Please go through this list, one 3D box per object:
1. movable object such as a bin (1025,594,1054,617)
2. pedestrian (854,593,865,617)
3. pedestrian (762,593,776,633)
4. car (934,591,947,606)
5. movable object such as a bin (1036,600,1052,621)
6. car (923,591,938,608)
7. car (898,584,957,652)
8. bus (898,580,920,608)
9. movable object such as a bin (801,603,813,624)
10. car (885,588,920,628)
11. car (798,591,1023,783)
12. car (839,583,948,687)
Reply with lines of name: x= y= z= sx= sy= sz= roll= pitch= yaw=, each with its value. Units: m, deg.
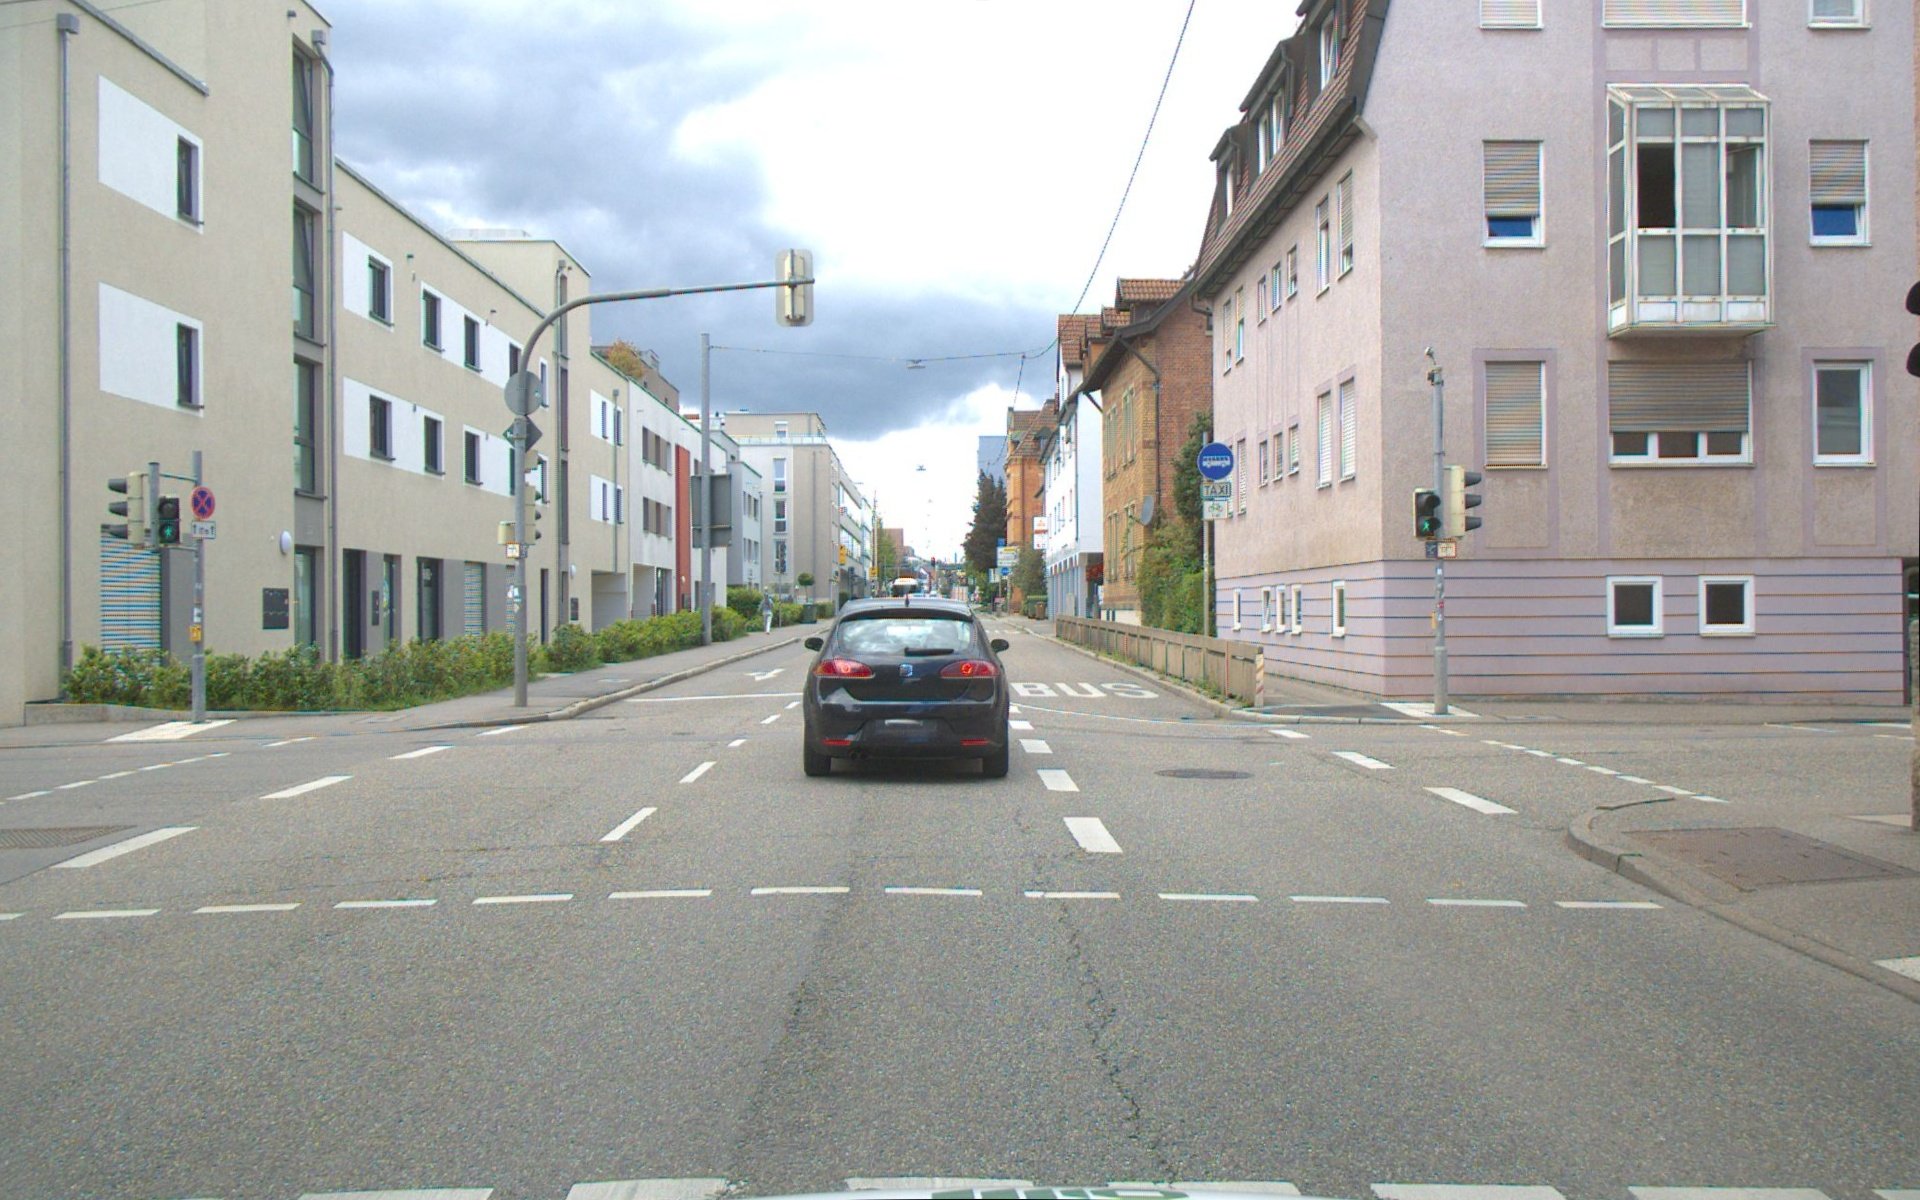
movable object such as a bin: x=5.048 y=0.365 z=105.250 sx=1.780 sy=1.462 sz=1.992 roll=1 pitch=0 yaw=0
pedestrian: x=-7.396 y=0.379 z=121.522 sx=0.716 sy=1.759 sz=0.859 roll=1 pitch=-1 yaw=-2
pedestrian: x=-7.553 y=0.530 z=65.434 sx=0.516 sy=1.575 sz=0.541 roll=1 pitch=-1 yaw=-1
car: x=-2.338 y=-0.209 z=193.966 sx=1.500 sy=1.722 sz=3.692 roll=-1 pitch=0 yaw=-1
movable object such as a bin: x=5.120 y=0.642 z=100.865 sx=0.909 sy=1.306 sz=0.883 roll=1 pitch=-1 yaw=0
car: x=-3.009 y=-0.075 z=166.936 sx=1.500 sy=1.722 sz=3.692 roll=-1 pitch=0 yaw=-1
car: x=-0.870 y=0.460 z=44.086 sx=1.500 sy=1.723 sz=3.692 roll=1 pitch=0 yaw=-1
bus: x=-5.490 y=-0.654 z=178.746 sx=2.165 sy=2.937 sz=8.917 roll=1 pitch=0 yaw=-1
movable object such as a bin: x=-8.098 y=0.728 z=87.677 sx=0.538 sy=1.097 sz=0.612 roll=1 pitch=-1 yaw=0
car: x=-2.541 y=0.346 z=73.594 sx=1.500 sy=1.723 sz=3.692 roll=1 pitch=0 yaw=-1
car: x=-0.409 y=0.685 z=14.807 sx=1.723 sy=1.467 sz=3.999 roll=1 pitch=0 yaw=-1
car: x=-1.154 y=0.591 z=29.641 sx=1.805 sy=1.723 sz=3.999 roll=1 pitch=0 yaw=-1
